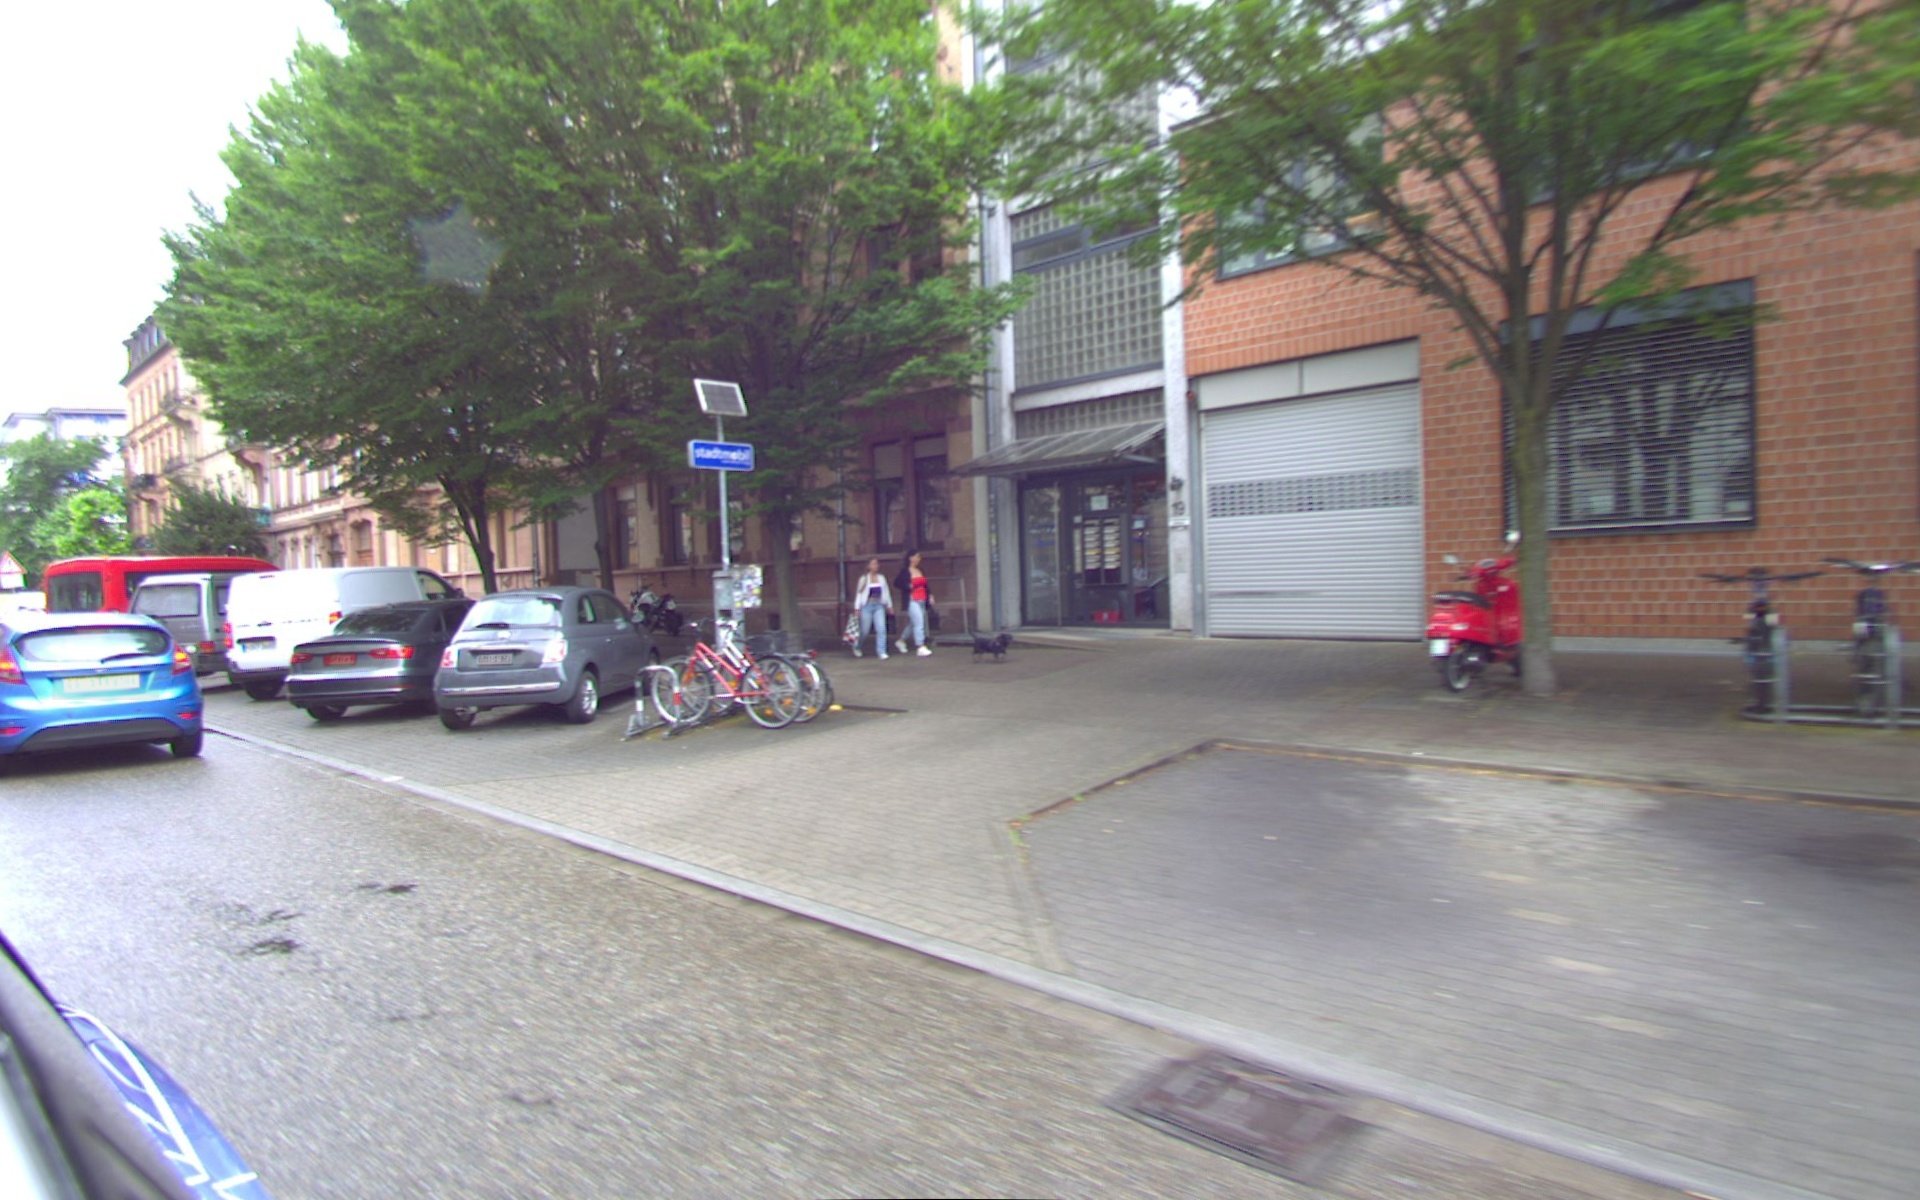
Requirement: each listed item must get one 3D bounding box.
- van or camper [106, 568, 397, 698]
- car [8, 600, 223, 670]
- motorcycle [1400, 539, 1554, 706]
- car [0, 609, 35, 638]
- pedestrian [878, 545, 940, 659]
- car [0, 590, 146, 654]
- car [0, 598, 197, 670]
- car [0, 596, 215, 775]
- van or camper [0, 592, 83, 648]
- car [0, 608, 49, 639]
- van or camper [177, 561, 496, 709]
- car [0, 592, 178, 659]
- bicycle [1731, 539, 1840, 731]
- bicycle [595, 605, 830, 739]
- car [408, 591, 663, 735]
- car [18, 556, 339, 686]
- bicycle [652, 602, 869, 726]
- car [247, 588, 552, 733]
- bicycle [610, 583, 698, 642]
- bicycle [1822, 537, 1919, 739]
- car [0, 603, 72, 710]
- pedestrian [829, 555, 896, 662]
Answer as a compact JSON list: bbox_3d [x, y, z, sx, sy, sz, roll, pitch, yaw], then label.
[{"bbox_3d":[-12.782,0.475,18.689,1.761,1.989,4.438,-2,3,9],"label":"van or camper"},{"bbox_3d":[-23.618,0.926,28.532,1.741,1.515,4.331,-3,2,19],"label":"car"},{"bbox_3d":[4.708,0.149,9.155,0.657,1.233,1.862,-1,6,45],"label":"motorcycle"},{"bbox_3d":[-58.829,1.502,60.874,1.975,1.574,4.452,-1,3,5],"label":"car"},{"bbox_3d":[-0.756,0.023,14.951,0.588,1.613,0.562,-2,4,37],"label":"pedestrian"},{"bbox_3d":[-34.050,0.784,38.038,1.854,2.093,5.225,-1,2,17],"label":"car"},{"bbox_3d":[-25.568,0.938,30.027,1.828,1.642,4.425,-3,3,16],"label":"car"},{"bbox_3d":[-9.187,0.745,10.370,4.001,1.476,1.652,-1,1,41],"label":"car"},{"bbox_3d":[-42.694,0.949,45.366,2.160,2.284,4.715,-3,3,9],"label":"van or camper"},{"bbox_3d":[-55.227,1.474,57.674,1.977,1.574,4.716,-4,3,8],"label":"car"},{"bbox_3d":[-10.018,0.418,16.868,2.305,1.967,4.698,-4,2,0],"label":"van or camper"},{"bbox_3d":[-29.885,0.812,34.546,2.544,1.798,4.533,-1,4,41],"label":"car"},{"bbox_3d":[6.164,0.195,7.576,0.553,1.160,1.878,-1,5,39],"label":"bicycle"},{"bbox_3d":[-2.419,0.696,9.837,2.208,1.166,0.744,-3,1,26],"label":"bicycle"},{"bbox_3d":[-4.882,0.641,12.156,1.628,1.446,3.481,-1,0,-1],"label":"car"},{"bbox_3d":[-17.440,0.356,23.082,2.208,2.560,5.549,-2,1,14],"label":"car"},{"bbox_3d":[-2.089,0.662,10.548,2.134,1.166,0.777,-3,1,26],"label":"bicycle"},{"bbox_3d":[-7.223,0.674,13.571,1.744,1.457,3.978,-3,2,2],"label":"car"},{"bbox_3d":[-6.871,0.277,22.629,2.412,1.202,0.660,-1,5,43],"label":"bicycle"},{"bbox_3d":[6.548,0.206,7.209,0.553,1.160,1.878,-1,5,39],"label":"bicycle"},{"bbox_3d":[-15.778,0.873,16.505,4.005,1.571,1.651,-1,1,45],"label":"car"},{"bbox_3d":[-1.444,0.121,15.076,0.586,1.507,0.682,-2,4,37],"label":"pedestrian"}]
